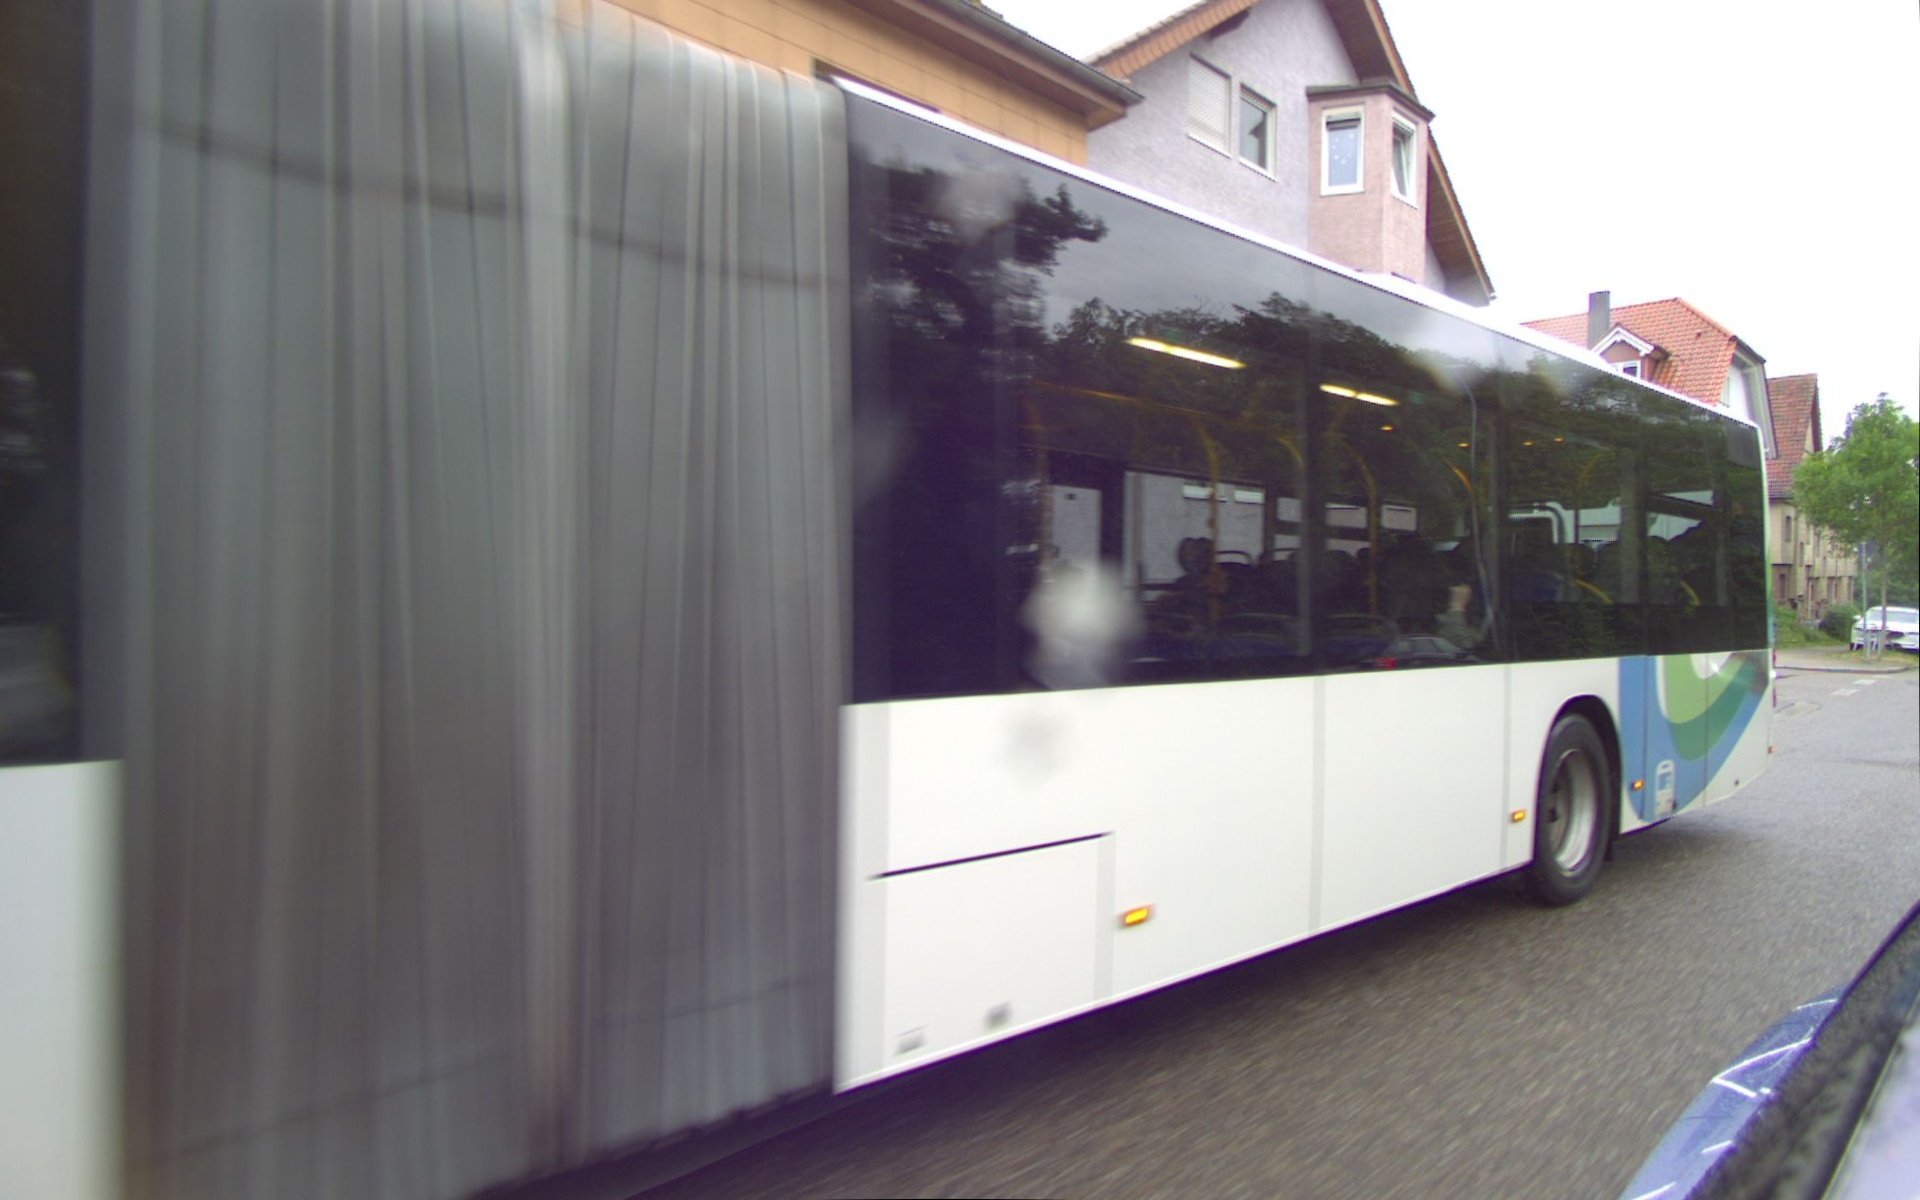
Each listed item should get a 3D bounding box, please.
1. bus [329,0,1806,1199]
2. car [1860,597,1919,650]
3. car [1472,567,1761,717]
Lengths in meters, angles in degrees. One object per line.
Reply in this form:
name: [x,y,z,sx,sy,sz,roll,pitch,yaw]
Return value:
bus: [1.693,-0.004,5.428,8.398,2.996,2.562,1,0,-37]
car: [32.747,0.820,35.087,4.407,1.682,1.924,2,1,-44]
car: [9.422,0.516,14.402,4.595,1.830,1.850,1,0,-35]
